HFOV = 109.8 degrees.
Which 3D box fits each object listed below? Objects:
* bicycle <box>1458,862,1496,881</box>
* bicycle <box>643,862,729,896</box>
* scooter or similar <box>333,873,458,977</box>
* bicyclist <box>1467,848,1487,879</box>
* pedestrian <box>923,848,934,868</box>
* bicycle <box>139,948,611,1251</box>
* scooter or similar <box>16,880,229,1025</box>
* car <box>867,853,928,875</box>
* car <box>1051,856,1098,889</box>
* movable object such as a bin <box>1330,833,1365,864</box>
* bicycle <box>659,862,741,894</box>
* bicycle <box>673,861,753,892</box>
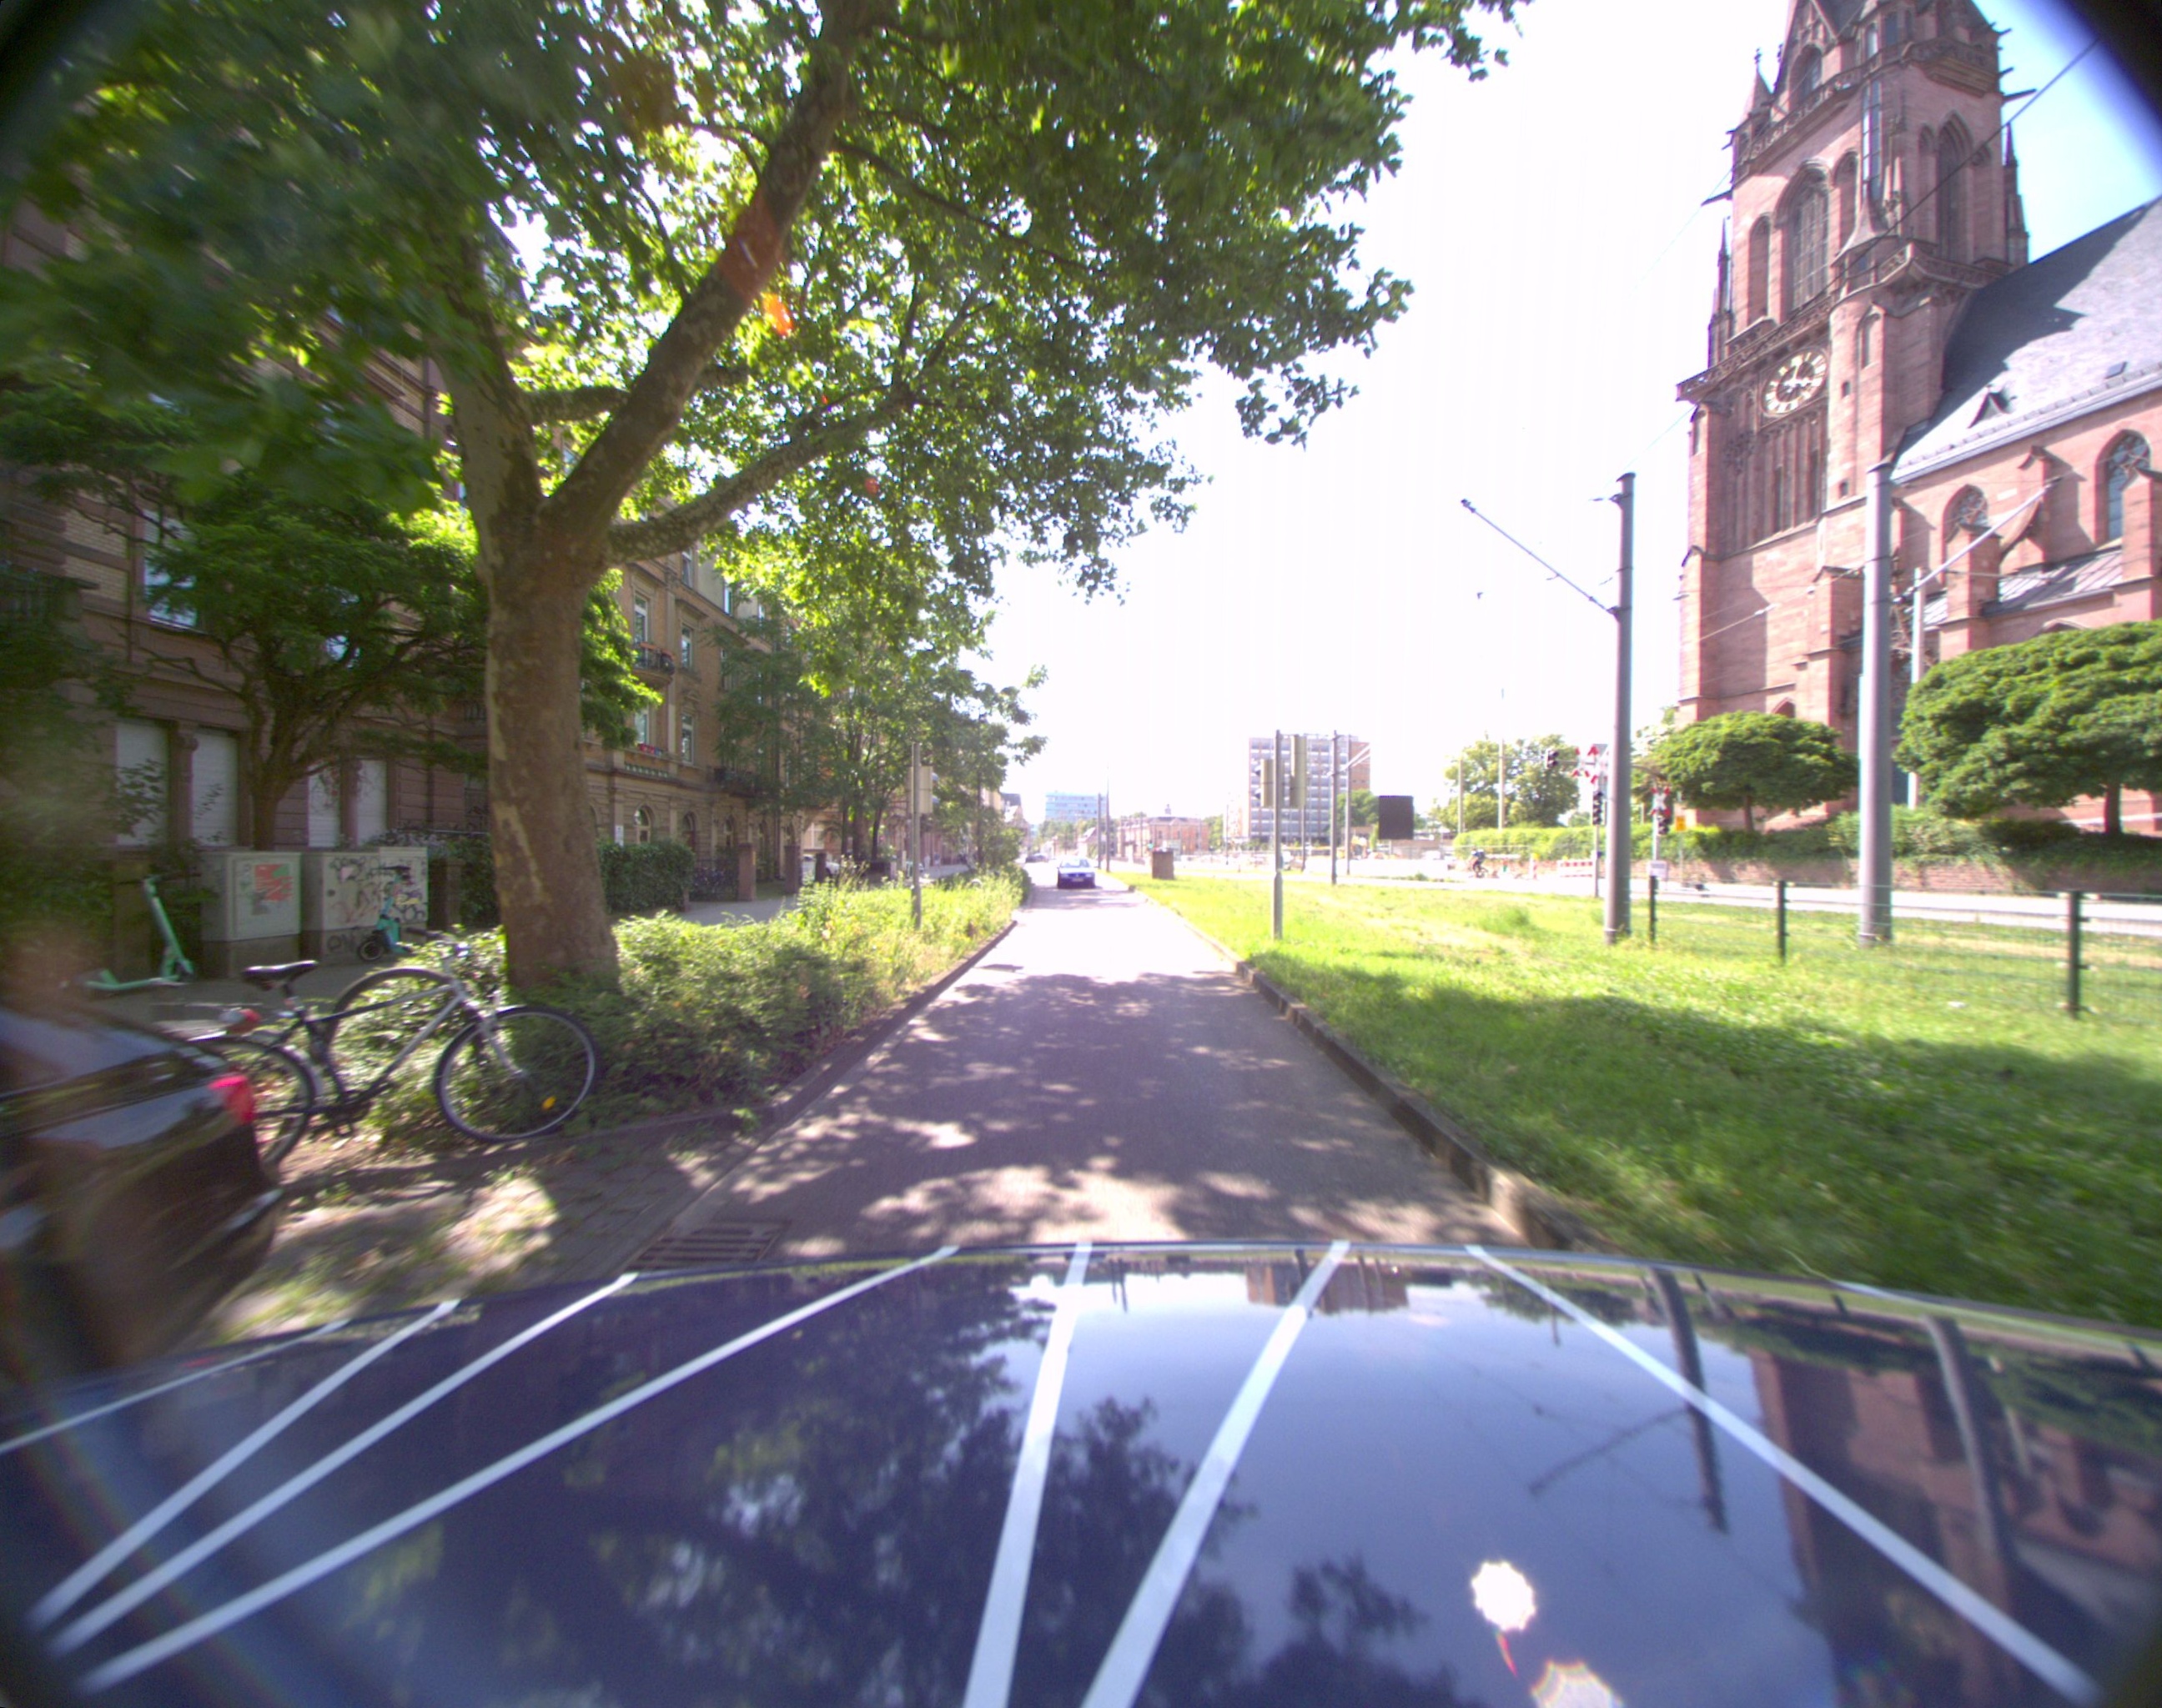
[{"bbox_3d":[22.935,0.977,44.046,0.658,1.040,1.965,0,0,-25],"label":"bicycle"},{"bbox_3d":[-13.599,0.841,26.254,2.584,1.105,0.772,0,1,-25],"label":"bicycle"},{"bbox_3d":[-9.011,0.898,10.041,0.583,1.275,1.145,0,1,1],"label":"scooter or similar"},{"bbox_3d":[22.952,0.548,44.011,0.646,1.752,0.793,0,1,-26],"label":"bicyclist"},{"bbox_3d":[-13.286,0.371,66.354,0.797,1.708,0.967,0,1,-1],"label":"pedestrian"},{"bbox_3d":[-3.309,1.089,3.772,1.641,1.082,0.470,0,1,-34],"label":"bicycle"},{"bbox_3d":[-9.144,0.896,7.316,0.583,1.240,1.145,0,1,0],"label":"scooter or similar"},{"bbox_3d":[-12.953,0.715,53.836,4.093,1.507,1.886,0,0,-9],"label":"car"},{"bbox_3d":[-0.242,0.829,35.219,1.886,1.401,4.094,-1,0,3],"label":"car"},{"bbox_3d":[34.838,-0.716,99.360,3.341,3.859,2.931,0,1,-34],"label":"movable object such as a bin"},{"bbox_3d":[-13.659,0.836,27.323,2.583,1.105,0.772,0,1,-20],"label":"bicycle"},{"bbox_3d":[-13.794,0.827,28.588,2.583,1.105,1.111,0,1,-20],"label":"bicycle"}]
